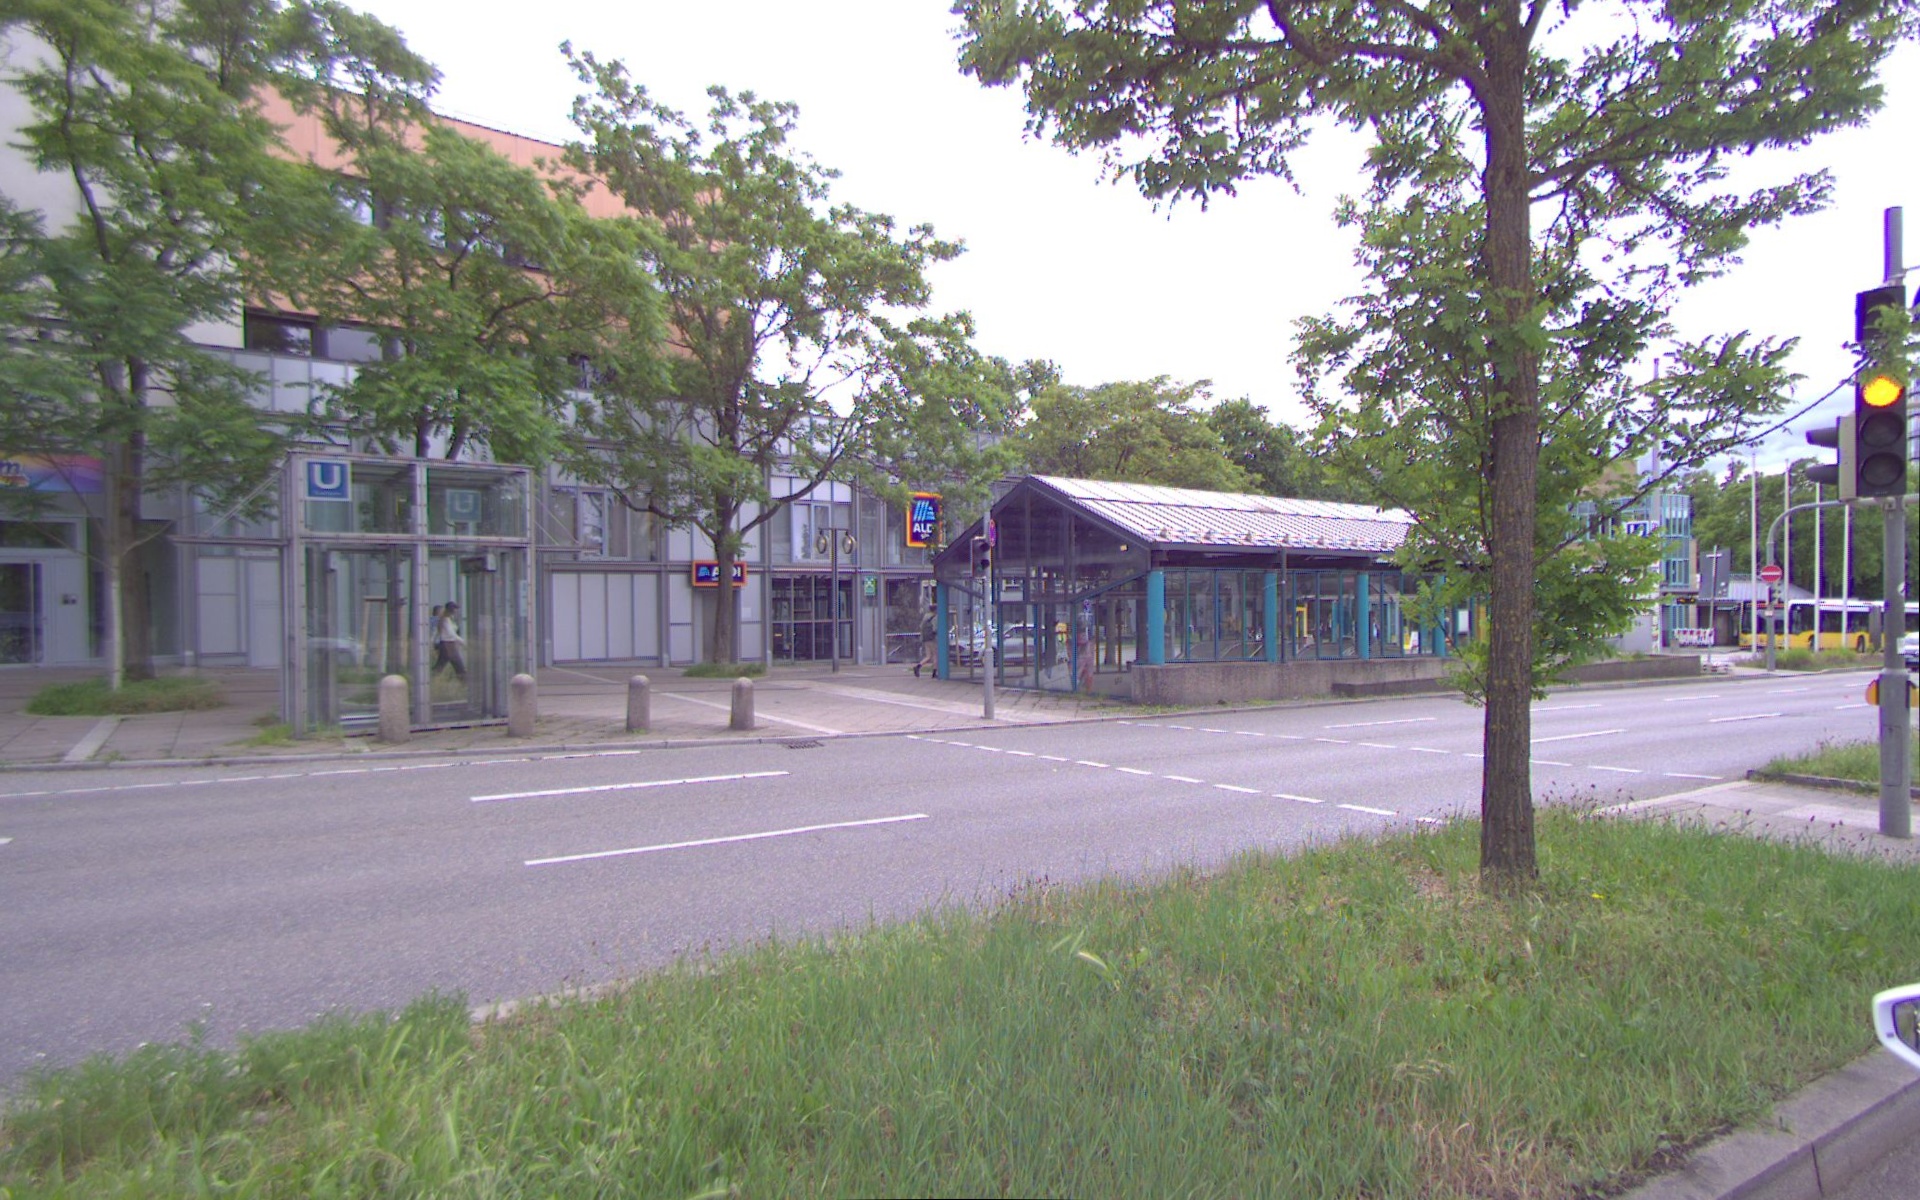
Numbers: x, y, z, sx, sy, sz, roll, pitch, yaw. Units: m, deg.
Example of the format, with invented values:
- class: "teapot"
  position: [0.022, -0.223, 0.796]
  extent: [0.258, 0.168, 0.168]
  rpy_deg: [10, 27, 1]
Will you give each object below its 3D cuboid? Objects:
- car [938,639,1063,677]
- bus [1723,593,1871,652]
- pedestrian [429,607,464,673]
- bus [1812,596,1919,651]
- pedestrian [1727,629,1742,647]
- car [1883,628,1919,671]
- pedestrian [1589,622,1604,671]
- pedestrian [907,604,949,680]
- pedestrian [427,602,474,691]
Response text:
- class: "car"
  position: [1.385, 1.931, 34.052]
  extent: [3.959, 1.184, 1.812]
  rpy_deg: [1, -2, -34]
- class: "bus"
  position: [49.927, 1.373, 59.829]
  extent: [10.036, 3.293, 2.980]
  rpy_deg: [1, -1, -26]
- class: "pedestrian"
  position: [-12.106, 0.940, 23.689]
  extent: [0.617, 1.523, 0.562]
  rpy_deg: [1, -1, -39]
- class: "bus"
  position: [57.924, 1.534, 63.770]
  extent: [7.771, 3.313, 2.980]
  rpy_deg: [1, -1, -26]
- class: "pedestrian"
  position: [47.941, 2.334, 62.184]
  extent: [0.581, 1.071, 0.520]
  rpy_deg: [2, 0, -30]
- class: "car"
  position: [37.553, 1.910, 39.168]
  extent: [3.316, 1.599, 1.673]
  rpy_deg: [1, -1, -36]
- class: "pedestrian"
  position: [21.014, 1.521, 33.155]
  extent: [0.412, 1.612, 0.356]
  rpy_deg: [0, -1, 31]
- class: "pedestrian"
  position: [-0.792, 1.038, 25.025]
  extent: [0.530, 1.857, 0.916]
  rpy_deg: [0, -1, 44]
- class: "pedestrian"
  position: [-9.836, 0.886, 19.386]
  extent: [0.714, 1.672, 0.672]
  rpy_deg: [1, 0, -34]
